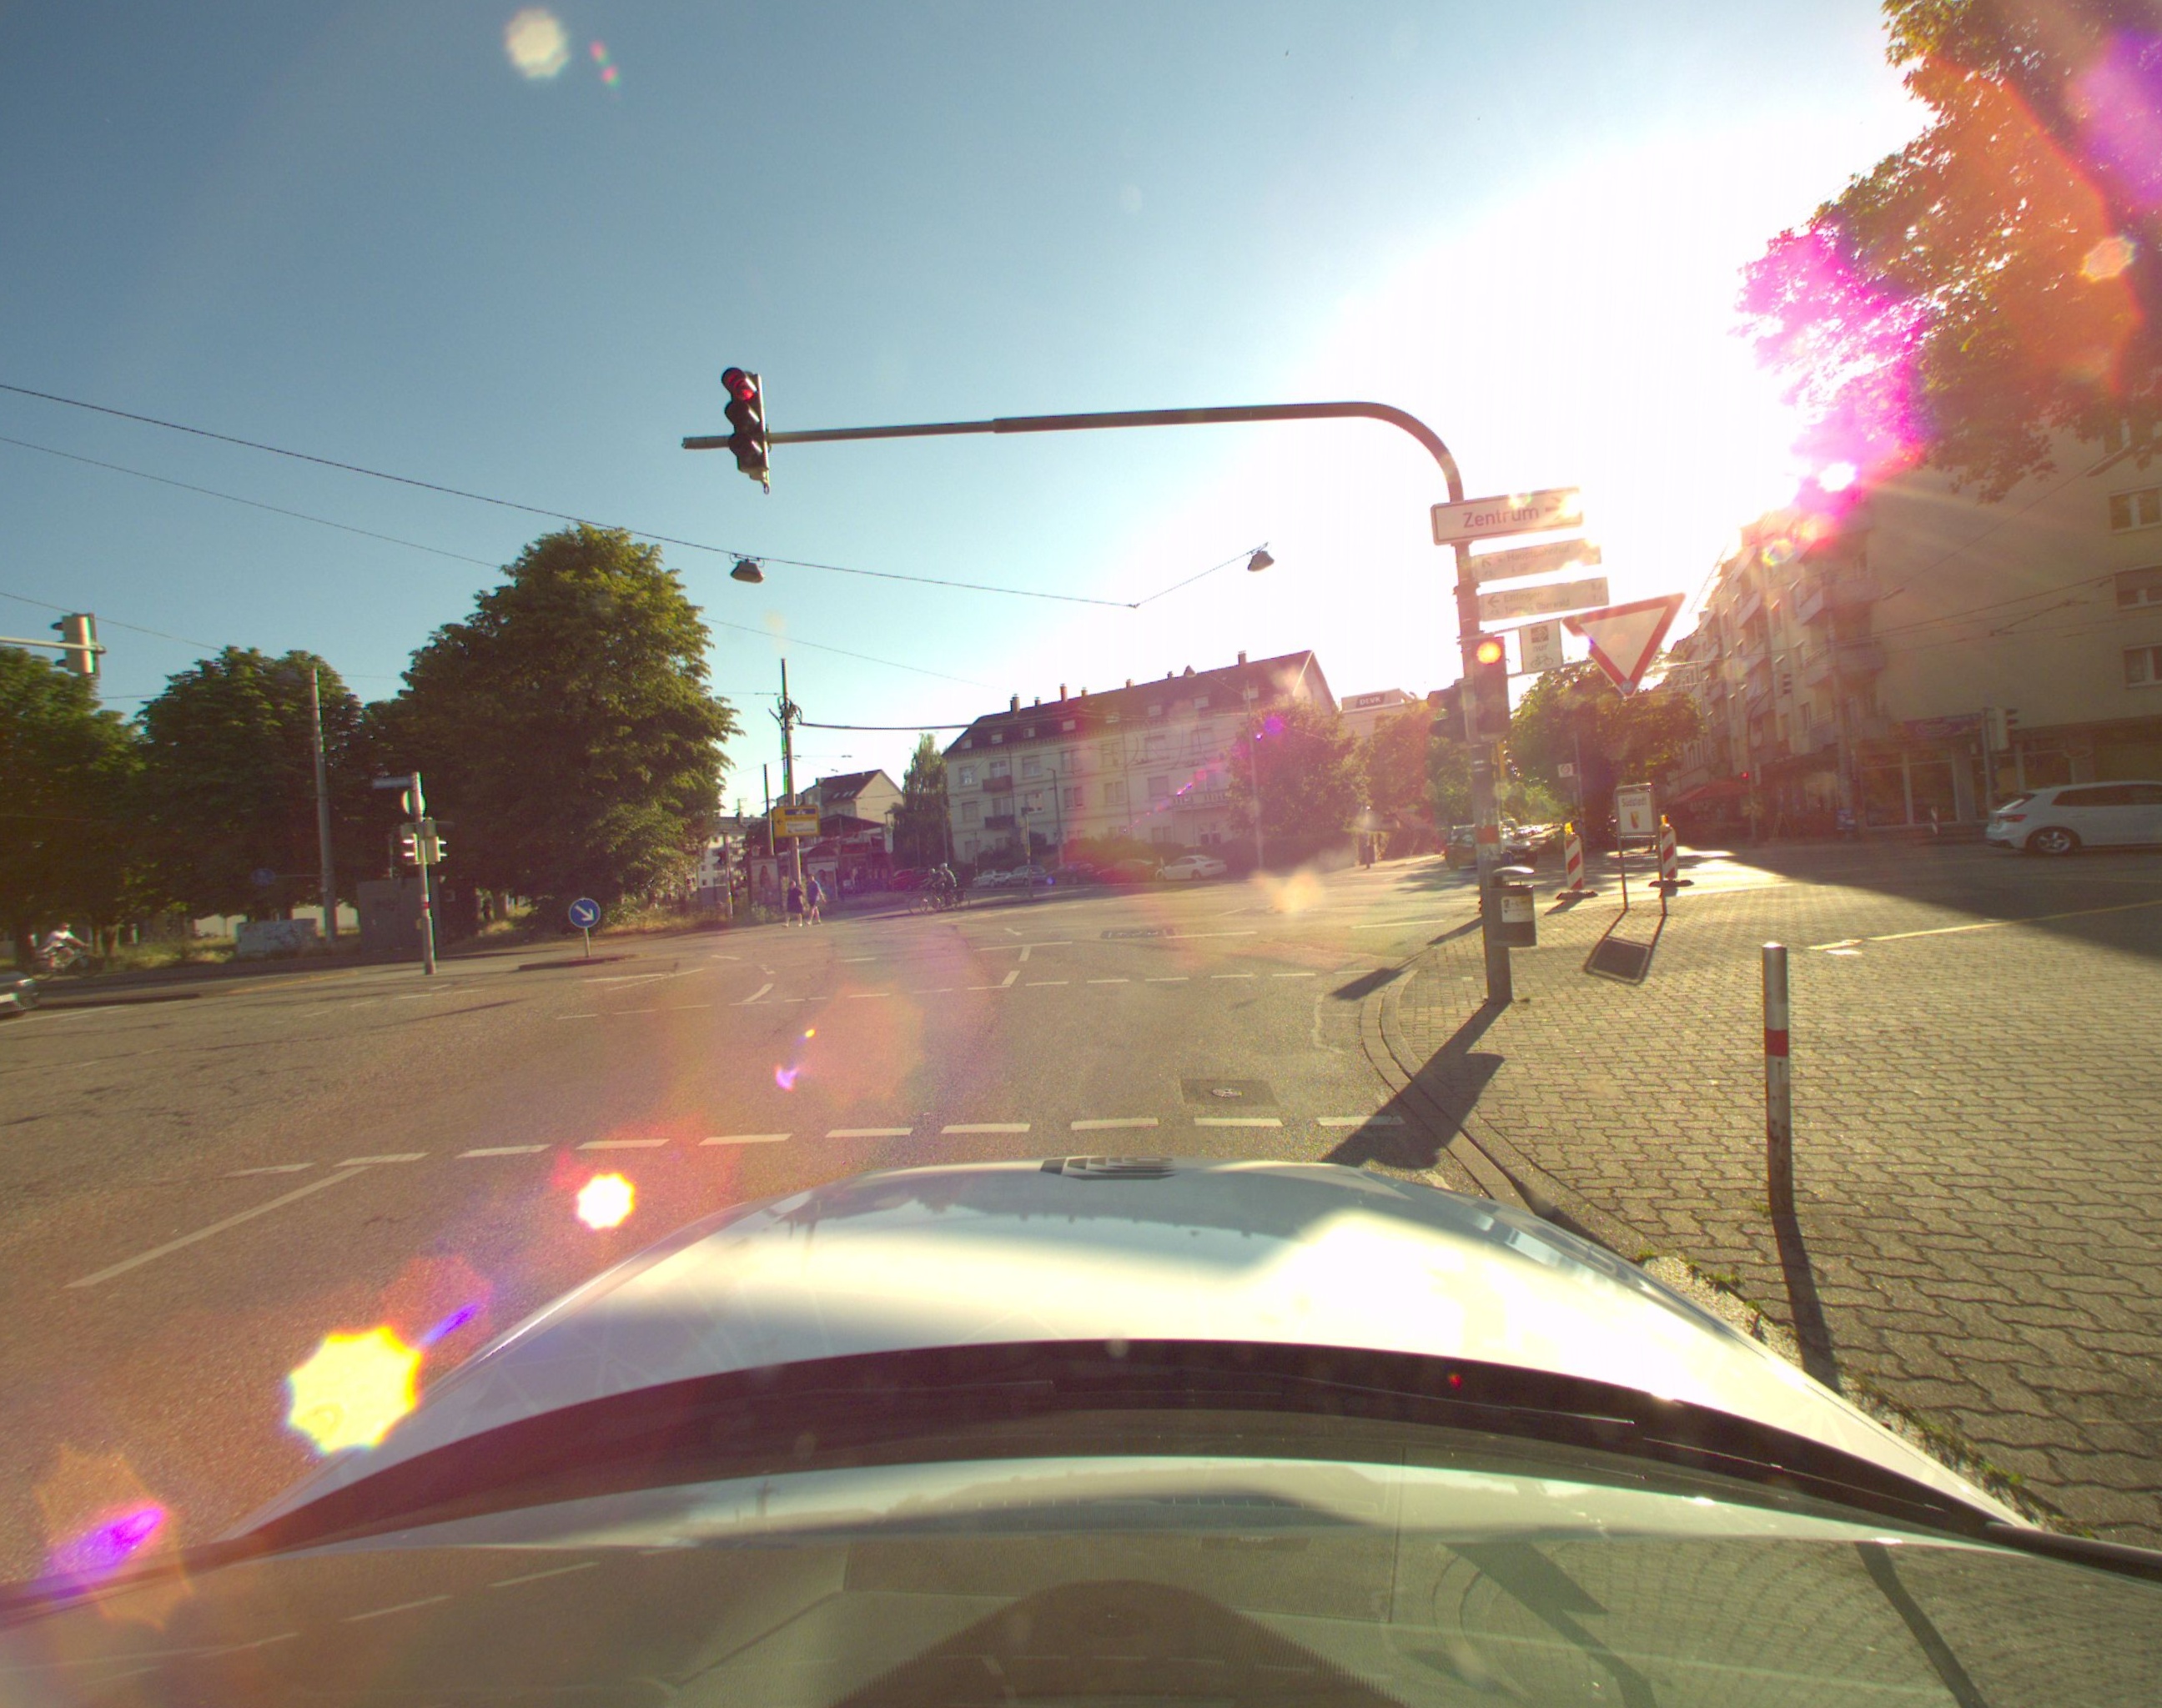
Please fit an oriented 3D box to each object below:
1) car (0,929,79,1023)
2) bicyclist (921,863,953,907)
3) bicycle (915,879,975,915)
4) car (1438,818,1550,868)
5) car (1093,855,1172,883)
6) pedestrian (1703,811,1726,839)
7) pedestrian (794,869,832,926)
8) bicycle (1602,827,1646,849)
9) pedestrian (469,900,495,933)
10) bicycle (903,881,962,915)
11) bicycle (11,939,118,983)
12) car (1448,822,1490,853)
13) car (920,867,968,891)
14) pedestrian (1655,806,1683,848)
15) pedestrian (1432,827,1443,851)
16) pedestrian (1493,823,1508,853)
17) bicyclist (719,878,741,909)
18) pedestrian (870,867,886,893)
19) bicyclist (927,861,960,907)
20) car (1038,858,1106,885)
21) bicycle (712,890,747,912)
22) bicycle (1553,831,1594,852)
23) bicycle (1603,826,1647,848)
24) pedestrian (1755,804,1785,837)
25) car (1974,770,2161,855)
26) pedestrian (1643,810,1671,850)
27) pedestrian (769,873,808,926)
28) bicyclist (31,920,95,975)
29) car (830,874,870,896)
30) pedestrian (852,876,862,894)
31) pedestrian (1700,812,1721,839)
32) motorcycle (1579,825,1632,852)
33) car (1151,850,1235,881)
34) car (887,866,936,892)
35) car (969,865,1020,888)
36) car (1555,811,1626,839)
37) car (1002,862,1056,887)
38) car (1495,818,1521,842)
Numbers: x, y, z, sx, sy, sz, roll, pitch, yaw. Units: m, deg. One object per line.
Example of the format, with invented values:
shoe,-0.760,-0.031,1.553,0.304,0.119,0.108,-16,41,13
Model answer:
car,-21.398,2.371,14.629,4.415,1.567,2.057,-4,0,5
bicyclist,-5.319,1.153,30.092,1.033,1.532,0.659,-4,-1,-7
bicycle,-4.822,1.513,28.904,2.012,1.069,0.661,-4,-1,-9
car,15.032,-0.349,29.946,1.887,1.564,4.394,-4,-1,1
car,3.120,0.944,50.193,1.999,1.376,4.647,-7,1,-44
pedestrian,33.371,-1.531,42.905,0.803,1.362,0.920,-5,-1,36
pedestrian,-9.527,1.522,28.967,0.910,1.925,1.066,-4,-1,-3
bicycle,26.864,-0.772,40.319,1.707,0.932,0.565,-5,-1,31
pedestrian,-36.420,3.786,49.530,0.937,1.872,0.689,-4,-1,7
bicycle,-5.470,1.603,30.065,2.010,1.069,0.662,-4,-1,-6
bicycle,-33.068,3.477,26.524,2.195,1.142,0.698,-4,-1,-11
car,28.383,-1.234,59.442,2.332,2.013,5.343,-5,-1,28
car,-11.411,2.076,67.626,1.855,1.667,4.319,-7,1,-39
pedestrian,25.832,-1.190,35.761,0.799,1.750,0.685,-4,-1,-38
pedestrian,27.296,-1.145,62.336,0.573,1.730,0.612,-4,-1,26
pedestrian,26.766,-1.045,51.950,0.655,1.839,0.687,-4,-1,30
bicyclist,-20.346,2.282,47.162,0.663,1.652,0.890,-4,-1,15
pedestrian,-16.494,2.095,66.067,0.928,2.013,0.760,-4,-1,-34
bicyclist,-4.877,1.041,28.910,1.034,1.532,0.696,-4,-1,-9
car,-0.673,1.198,54.794,1.998,1.447,4.650,-7,1,-39
bicycle,-20.325,2.715,47.135,0.656,1.069,2.028,-4,0,17
bicycle,24.915,-0.640,41.195,1.707,0.932,0.676,-5,-1,31
bicycle,26.465,-0.819,39.655,1.707,0.932,0.565,-5,-1,31
pedestrian,33.833,-1.631,39.998,0.804,1.544,0.919,-5,-1,25
car,20.978,-0.880,16.294,3.949,1.486,1.909,-5,-1,42
pedestrian,26.044,-1.096,36.832,0.799,1.750,0.710,-4,-1,-38
pedestrian,-10.283,1.584,28.693,0.910,1.747,1.066,-4,-1,-3
bicyclist,-33.171,3.021,26.543,1.038,1.629,0.711,-4,-1,-9
car,-23.849,3.197,83.945,2.067,1.961,5.091,-7,1,-39
pedestrian,-18.445,2.552,67.051,0.569,1.500,0.672,-4,-1,-27
pedestrian,34.050,-1.527,44.059,0.803,1.362,0.920,-5,-1,36
motorcycle,24.964,-0.718,38.801,1.933,1.109,0.842,-5,-1,26
car,6.266,0.674,46.122,1.941,1.376,4.443,-7,1,-40
car,-15.207,2.235,72.760,2.067,1.961,5.091,-7,1,-39
car,-6.591,1.730,61.674,1.855,1.447,3.912,-7,1,-39
car,44.677,-2.513,71.615,5.042,1.924,2.377,-5,-2,28
car,-3.748,1.459,58.113,1.998,1.447,3.676,-7,1,-39
car,47.942,-2.701,91.341,2.332,2.514,5.343,-5,-1,28
